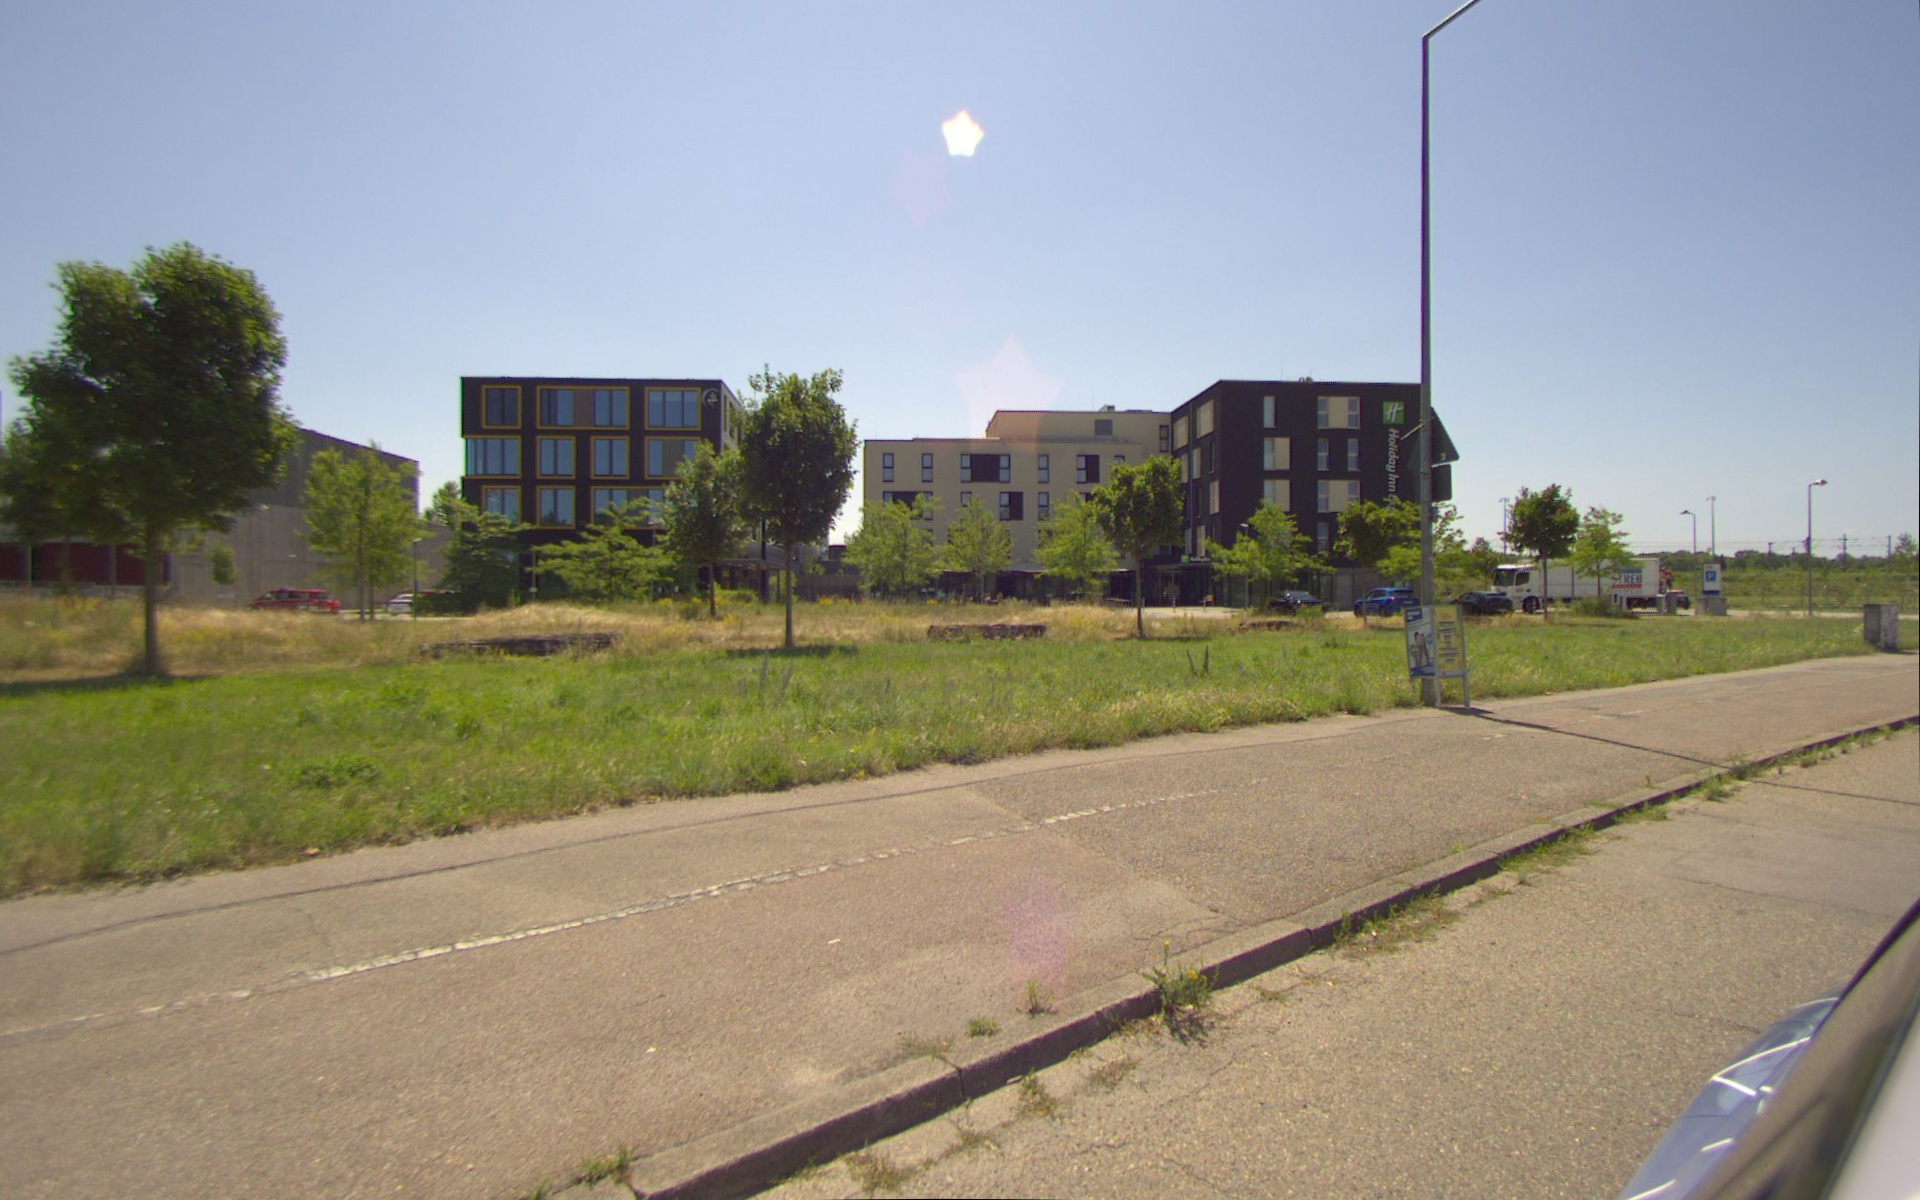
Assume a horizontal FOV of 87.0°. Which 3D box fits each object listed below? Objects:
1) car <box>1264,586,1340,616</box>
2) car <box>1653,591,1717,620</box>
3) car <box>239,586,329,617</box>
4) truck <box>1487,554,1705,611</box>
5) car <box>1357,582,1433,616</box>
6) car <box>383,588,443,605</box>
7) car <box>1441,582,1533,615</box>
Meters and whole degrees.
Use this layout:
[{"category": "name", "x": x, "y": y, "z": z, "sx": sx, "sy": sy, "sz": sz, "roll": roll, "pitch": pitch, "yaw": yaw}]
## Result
[{"category": "car", "x": 17.401, "y": 0.017, "z": 51.745, "sx": 1.921, "sy": 1.463, "sz": 4.133, "roll": 0, "pitch": 1, "yaw": -10}, {"category": "car", "x": 54.795, "y": 0.367, "z": 76.532, "sx": 1.844, "sy": 2.039, "sz": 3.918, "roll": -2, "pitch": 1, "yaw": -2}, {"category": "car", "x": -48.998, "y": 0.101, "z": 73.423, "sx": 5.059, "sy": 2.142, "sz": 2.238, "roll": 0, "pitch": 0, "yaw": -2}, {"category": "truck", "x": 39.992, "y": -1.128, "z": 63.828, "sx": 11.902, "sy": 3.504, "sz": 3.021, "roll": 0, "pitch": 2, "yaw": -2}, {"category": "car", "x": 22.284, "y": -0.064, "z": 52.018, "sx": 1.916, "sy": 1.672, "sz": 4.075, "roll": 0, "pitch": 1, "yaw": -4}, {"category": "car", "x": -49.549, "y": -0.318, "z": 91.714, "sx": 4.434, "sy": 1.529, "sz": 1.805, "roll": 0, "pitch": 0, "yaw": -6}, {"category": "car", "x": 26.868, "y": -0.107, "z": 51.769, "sx": 1.991, "sy": 1.581, "sz": 4.513, "roll": 0, "pitch": 1, "yaw": -5}]
